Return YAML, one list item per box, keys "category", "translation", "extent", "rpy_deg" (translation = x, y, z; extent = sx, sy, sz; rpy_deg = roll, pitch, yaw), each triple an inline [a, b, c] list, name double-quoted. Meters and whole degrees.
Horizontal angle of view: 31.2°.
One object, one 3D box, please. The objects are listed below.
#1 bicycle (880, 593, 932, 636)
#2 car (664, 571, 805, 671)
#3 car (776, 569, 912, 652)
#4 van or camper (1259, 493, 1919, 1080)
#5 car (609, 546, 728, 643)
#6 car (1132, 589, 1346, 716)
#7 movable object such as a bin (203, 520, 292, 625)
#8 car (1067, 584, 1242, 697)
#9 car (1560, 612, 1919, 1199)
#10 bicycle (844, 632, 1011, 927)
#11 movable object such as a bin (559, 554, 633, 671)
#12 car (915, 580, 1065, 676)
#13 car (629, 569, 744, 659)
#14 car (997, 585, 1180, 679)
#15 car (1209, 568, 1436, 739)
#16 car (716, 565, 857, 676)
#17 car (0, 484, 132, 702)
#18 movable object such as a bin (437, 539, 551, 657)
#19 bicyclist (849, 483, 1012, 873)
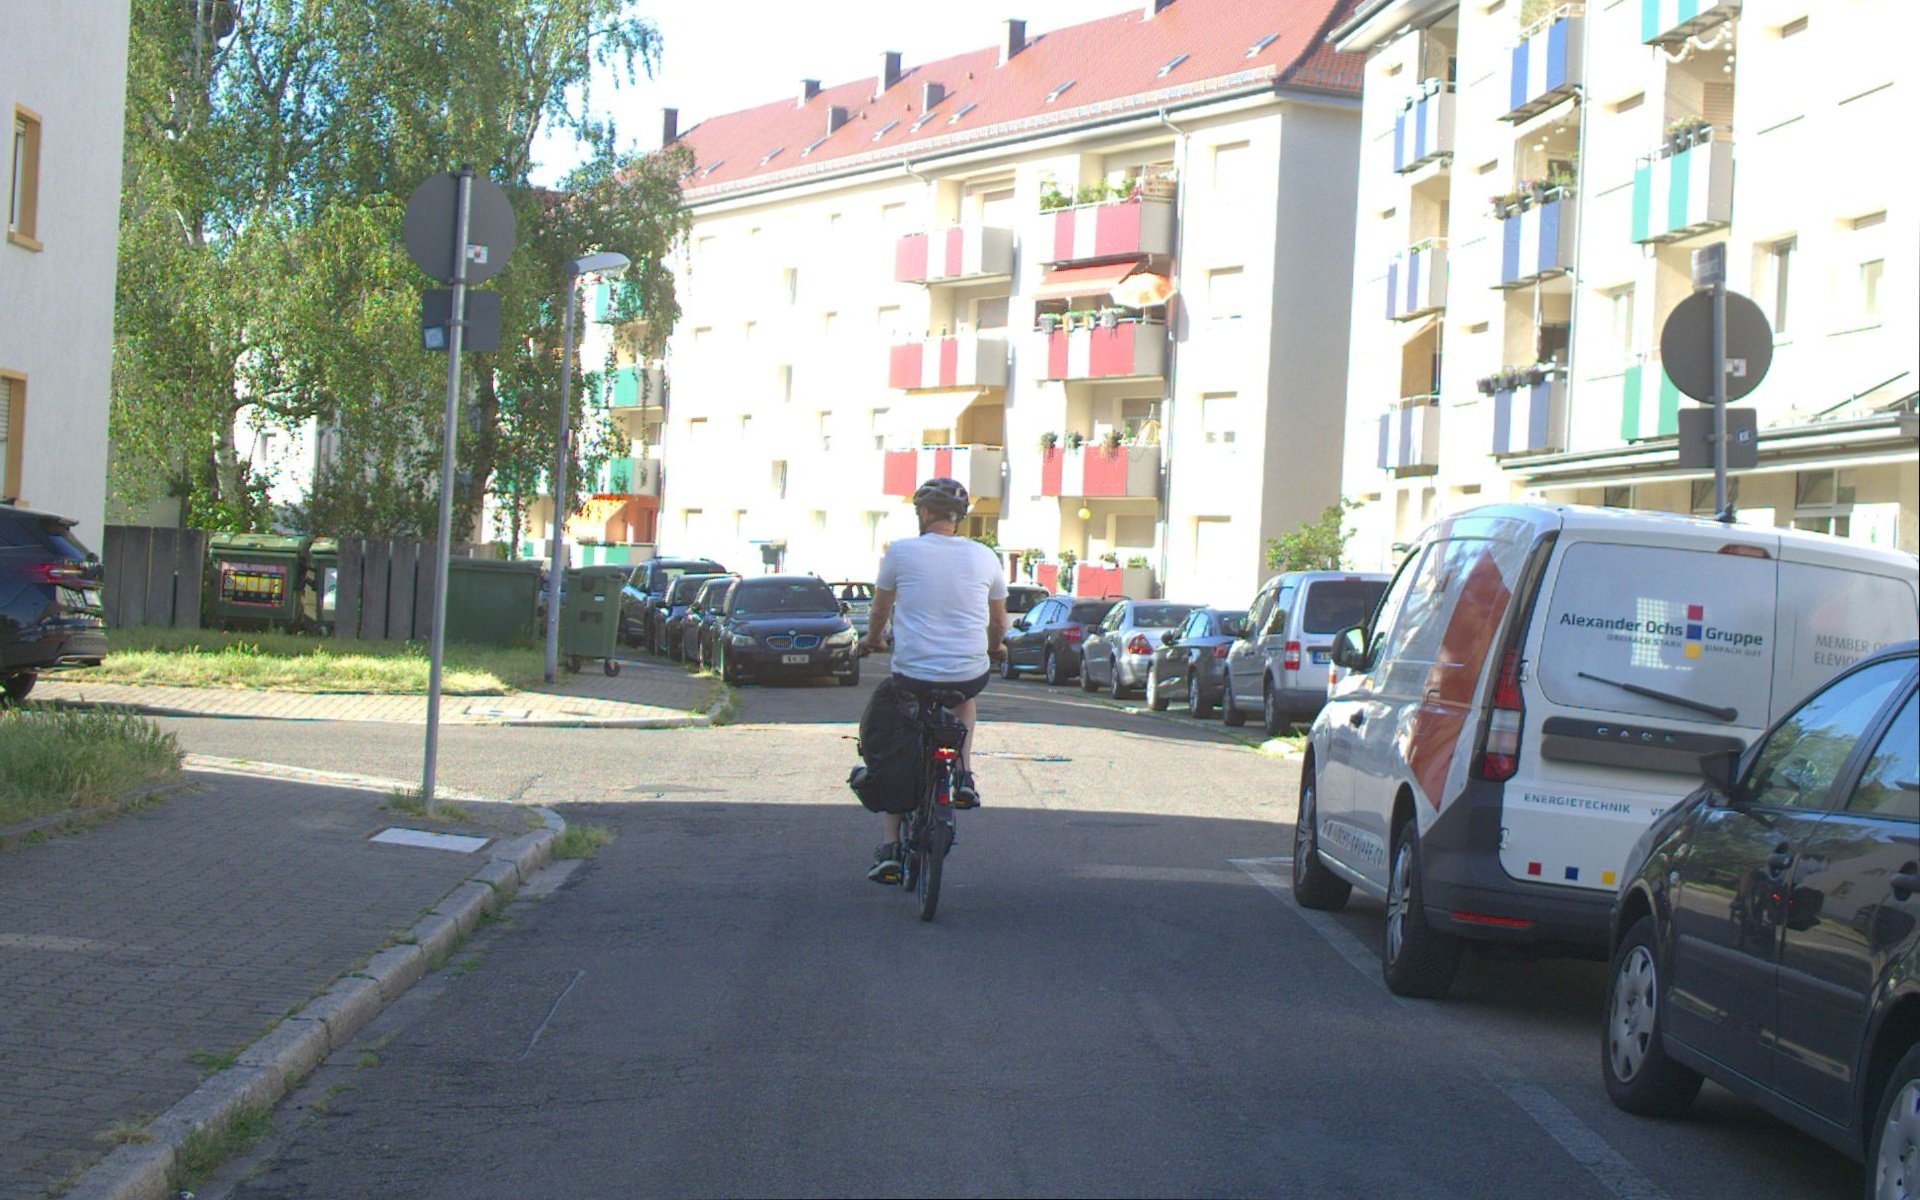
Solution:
- category: "bicycle"
  translation: [-1.338, 0.351, 84.793]
  extent: [0.617, 0.975, 1.896]
  rpy_deg: [0, 3, -23]
- category: "car"
  translation: [-3.439, 0.286, 51.846]
  extent: [1.677, 1.437, 4.281]
  rpy_deg: [0, 1, -10]
- category: "car"
  translation: [-2.583, 0.208, 75.500]
  extent: [1.765, 1.630, 4.043]
  rpy_deg: [1, 2, -20]
- category: "van or camper"
  translation: [2.413, 0.591, 13.605]
  extent: [1.792, 1.741, 4.735]
  rpy_deg: [6, 0, -1]
- category: "car"
  translation: [-5.360, -0.112, 62.880]
  extent: [1.555, 1.708, 4.339]
  rpy_deg: [0, 1, -13]
- category: "car"
  translation: [3.533, 0.644, 44.384]
  extent: [1.677, 1.402, 4.547]
  rpy_deg: [3, 1, -9]
- category: "movable object such as a bin"
  translation: [-9.944, -0.381, 48.011]
  extent: [1.060, 1.430, 1.003]
  rpy_deg: [1, 0, -4]
- category: "car"
  translation: [2.819, 0.567, 50.829]
  extent: [1.677, 1.442, 4.725]
  rpy_deg: [3, 1, -7]
- category: "car"
  translation: [2.717, 0.841, 8.310]
  extent: [1.572, 1.412, 3.788]
  rpy_deg: [5, 1, -3]
- category: "bicycle"
  translation: [-0.147, 0.722, 14.583]
  extent: [0.627, 1.111, 1.816]
  rpy_deg: [2, 1, -1]
- category: "movable object such as a bin"
  translation: [-4.494, 0.143, 42.572]
  extent: [0.775, 1.388, 1.417]
  rpy_deg: [3, 0, -3]
- category: "car"
  translation: [0.509, 0.488, 63.082]
  extent: [1.693, 1.650, 4.391]
  rpy_deg: [2, 0, -14]
- category: "car"
  translation: [-4.581, 0.213, 57.191]
  extent: [1.555, 1.437, 3.969]
  rpy_deg: [0, 1, -10]
- category: "car"
  translation: [2.043, 0.498, 56.176]
  extent: [1.693, 1.427, 4.689]
  rpy_deg: [2, 0, -14]
- category: "car"
  translation: [4.038, 0.558, 38.880]
  extent: [1.746, 1.818, 4.132]
  rpy_deg: [0, 0, -6]
- category: "car"
  translation: [-2.419, 0.243, 47.060]
  extent: [1.677, 1.448, 4.621]
  rpy_deg: [0, 1, -6]
- category: "car"
  translation: [-9.048, -0.118, 27.280]
  extent: [4.488, 1.658, 1.719]
  rpy_deg: [2, -1, -1]
- category: "movable object such as a bin"
  translation: [-5.810, -0.027, 42.896]
  extent: [1.220, 1.376, 0.767]
  rpy_deg: [4, 0, 2]
- category: "bicyclist"
  translation: [-0.134, 0.322, 14.563]
  extent: [0.596, 1.573, 0.907]
  rpy_deg: [3, 0, -1]
